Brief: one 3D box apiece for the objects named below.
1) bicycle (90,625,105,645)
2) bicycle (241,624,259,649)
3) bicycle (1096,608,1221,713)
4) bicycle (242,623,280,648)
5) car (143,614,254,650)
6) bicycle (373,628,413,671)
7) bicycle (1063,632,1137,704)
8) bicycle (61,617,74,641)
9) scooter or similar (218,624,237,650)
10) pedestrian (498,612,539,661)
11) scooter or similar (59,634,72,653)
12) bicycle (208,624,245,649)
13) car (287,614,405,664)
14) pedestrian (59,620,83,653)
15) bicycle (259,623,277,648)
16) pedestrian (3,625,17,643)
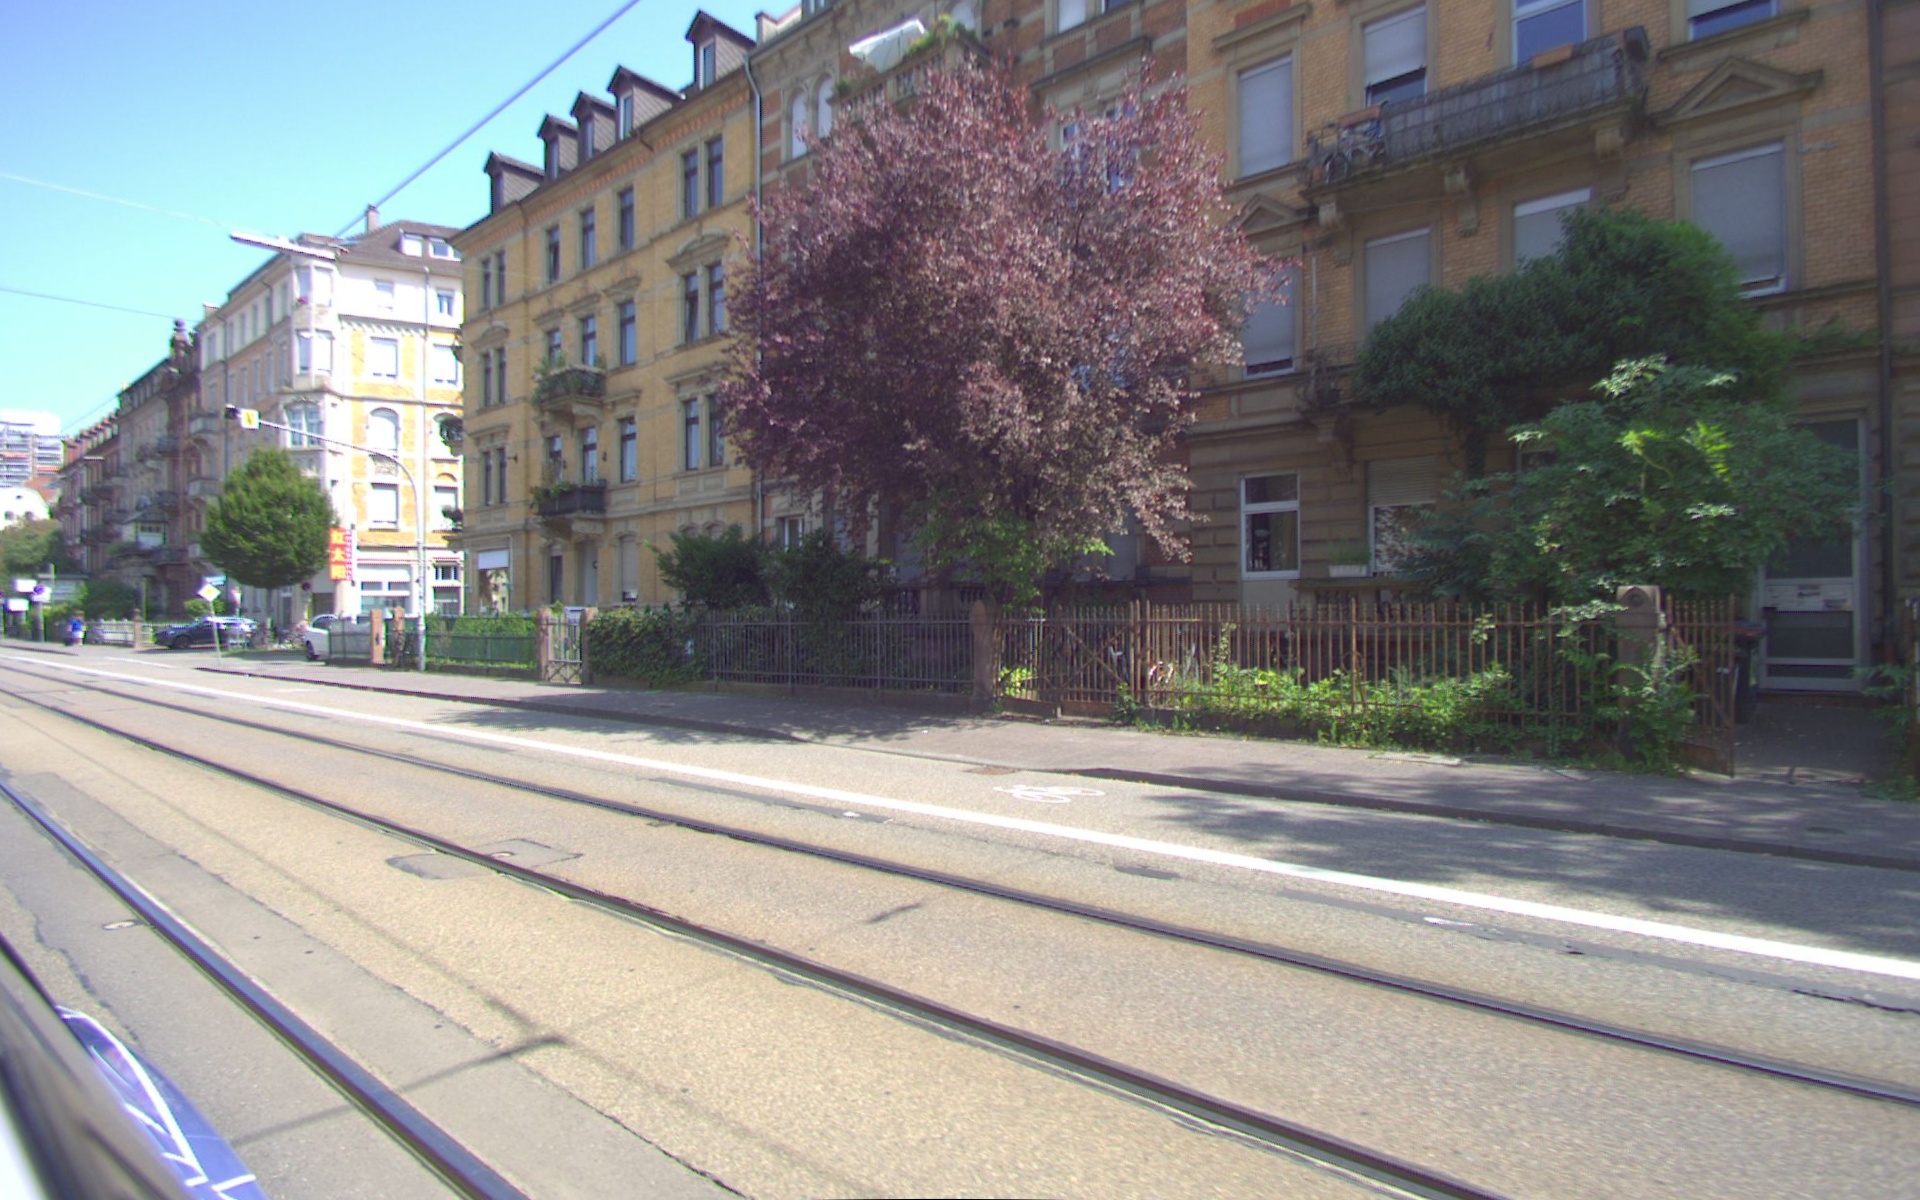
[{"bbox_3d":[-46.500,1.891,54.550,1.832,1.046,0.386,-2,-1,42],"label":"bicycle"},{"bbox_3d":[-32.131,1.633,45.797,0.384,1.107,1.456,-1,-1,-24],"label":"bicycle"},{"bbox_3d":[2.548,0.725,12.872,0.716,1.191,1.793,-1,0,43],"label":"bicycle"},{"bbox_3d":[-32.896,1.668,47.649,1.428,1.107,0.391,-1,-1,-38],"label":"bicycle"},{"bbox_3d":[-37.038,1.539,49.282,1.878,1.606,4.058,-1,0,42],"label":"car"},{"bbox_3d":[-14.955,1.296,26.679,1.566,1.107,0.386,-2,-1,39],"label":"bicycle"},{"bbox_3d":[2.101,0.975,15.027,0.711,0.918,1.806,-1,0,20],"label":"bicycle"},{"bbox_3d":[-53.817,1.762,61.033,1.581,1.416,0.386,-2,-1,42],"label":"bicycle"},{"bbox_3d":[-32.713,1.658,45.187,0.588,1.107,1.392,-1,-1,-39],"label":"scooter or similar"},{"bbox_3d":[-14.132,1.165,32.394,0.883,1.522,0.860,-1,-1,33],"label":"pedestrian"},{"bbox_3d":[-48.436,2.352,54.795,0.583,0.990,0.397,-1,0,33],"label":"scooter or similar"},{"bbox_3d":[-33.539,1.656,46.281,0.387,1.107,1.443,-2,-1,18],"label":"bicycle"},{"bbox_3d":[-20.887,1.285,34.371,4.352,1.606,1.975,-1,-1,37],"label":"car"},{"bbox_3d":[-47.982,1.949,54.623,0.869,1.769,0.874,-1,-1,41],"label":"pedestrian"},{"bbox_3d":[-31.458,1.599,46.009,0.384,1.107,1.456,-1,-1,-24],"label":"bicycle"},{"bbox_3d":[-110.729,3.935,117.982,1.036,2.029,1.080,-1,0,40],"label":"pedestrian"}]
